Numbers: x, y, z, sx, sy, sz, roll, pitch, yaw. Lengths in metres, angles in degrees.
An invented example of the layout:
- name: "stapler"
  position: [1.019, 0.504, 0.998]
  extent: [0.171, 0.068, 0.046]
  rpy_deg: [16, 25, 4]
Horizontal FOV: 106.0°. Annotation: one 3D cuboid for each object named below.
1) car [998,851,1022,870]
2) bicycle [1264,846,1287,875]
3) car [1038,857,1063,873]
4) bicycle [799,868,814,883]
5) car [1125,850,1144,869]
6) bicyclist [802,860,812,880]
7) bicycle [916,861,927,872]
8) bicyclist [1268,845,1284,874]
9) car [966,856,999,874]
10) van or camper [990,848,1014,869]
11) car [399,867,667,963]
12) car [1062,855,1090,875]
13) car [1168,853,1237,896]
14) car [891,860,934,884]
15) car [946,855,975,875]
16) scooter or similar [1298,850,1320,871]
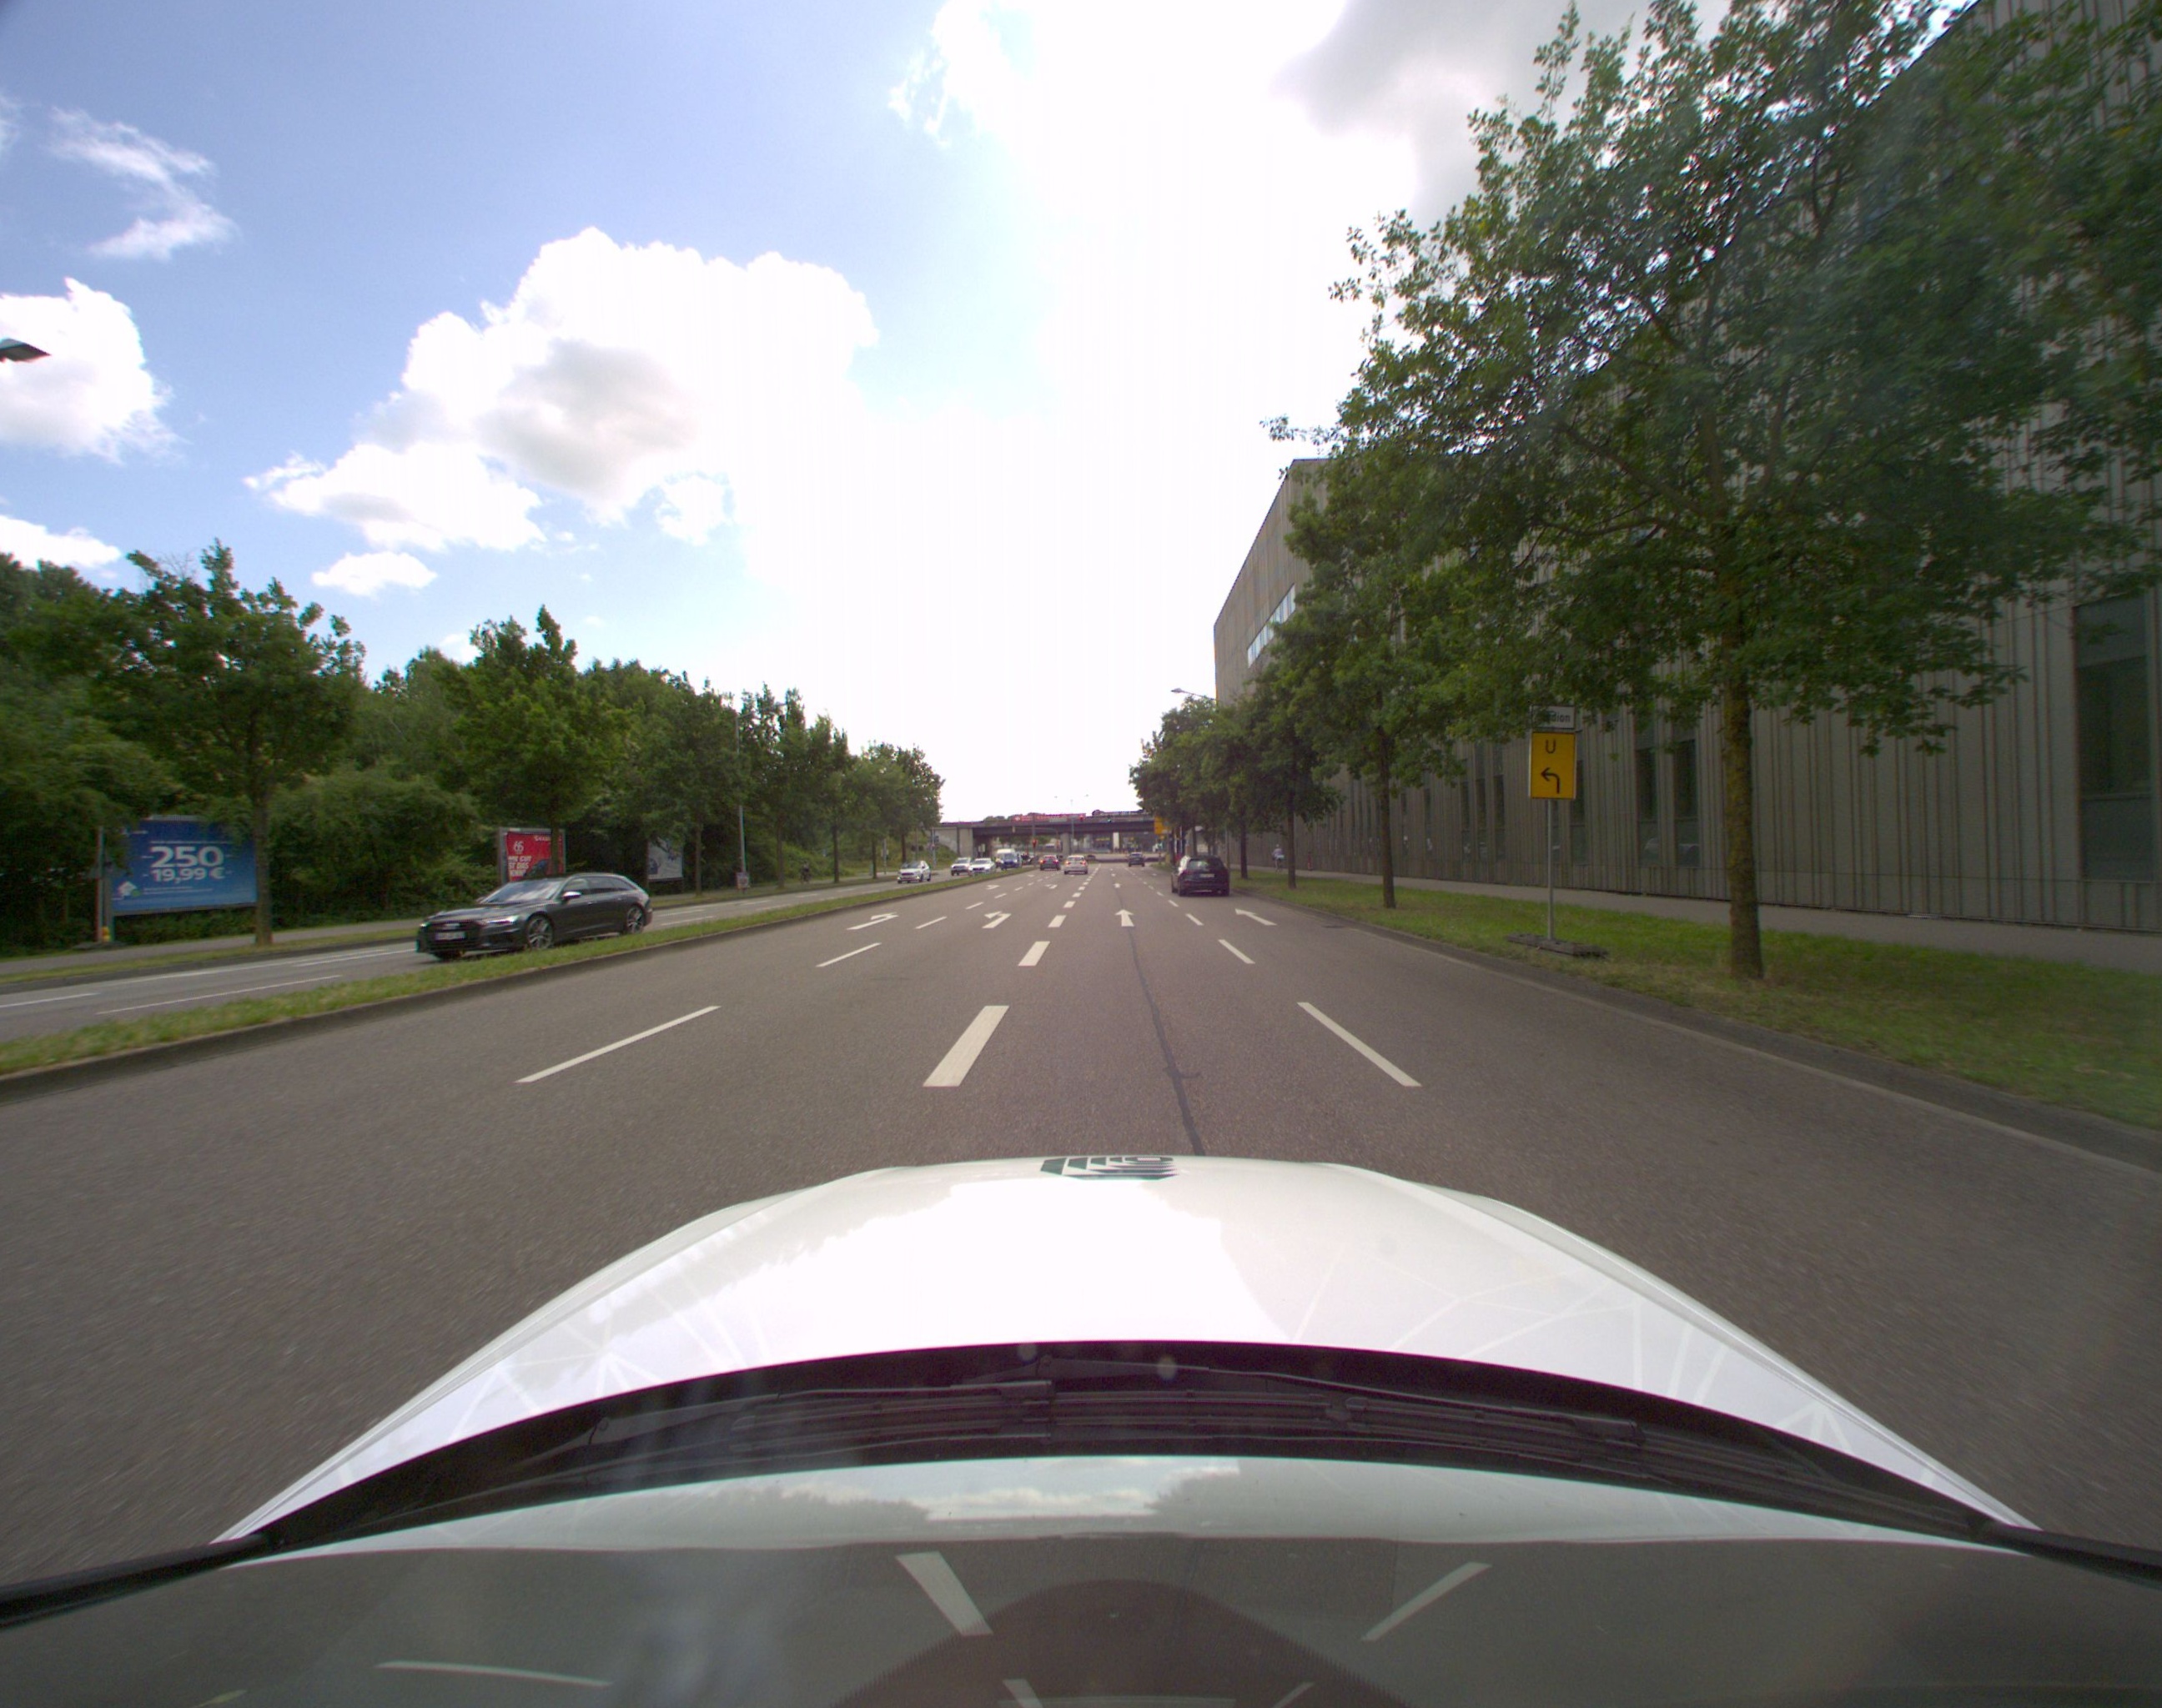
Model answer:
- name: "car"
  position: [-8.012, 0.713, 92.272]
  extent: [2.183, 1.964, 5.194]
  rpy_deg: [-2, 0, 1]
- name: "bicycle"
  position: [12.353, 0.423, 51.701]
  extent: [0.718, 1.774, 2.532]
  rpy_deg: [-2, 0, -2]
- name: "car"
  position: [-2.893, 1.013, 77.910]
  extent: [1.986, 1.415, 4.834]
  rpy_deg: [0, 0, 2]
- name: "bicycle"
  position: [-20.609, 1.597, 61.190]
  extent: [0.508, 1.106, 1.844]
  rpy_deg: [0, 0, 0]
- name: "car"
  position: [6.188, 0.591, 94.332]
  extent: [1.986, 2.037, 4.715]
  rpy_deg: [-2, 0, 2]
- name: "bicyclist"
  position: [-20.622, 1.201, 61.252]
  extent: [0.492, 1.464, 0.713]
  rpy_deg: [0, -1, 0]
- name: "bicycle"
  position: [-19.372, 1.482, 98.918]
  extent: [0.818, 1.270, 2.395]
  rpy_deg: [0, 0, 3]
- name: "bicyclist"
  position: [12.356, 0.327, 51.553]
  extent: [0.713, 1.769, 0.988]
  rpy_deg: [-2, 0, -2]
- name: "car"
  position: [-8.287, 0.904, 69.061]
  extent: [1.986, 1.431, 5.027]
  rpy_deg: [-2, 0, 2]
- name: "van or camper"
  position: [-10.128, 0.539, 105.182]
  extent: [2.343, 2.539, 7.065]
  rpy_deg: [-1, 0, 1]
- name: "car"
  position: [-10.689, 1.091, 16.486]
  extent: [1.952, 1.517, 4.911]
  rpy_deg: [-2, 0, 2]
- name: "car"
  position: [-0.352, 0.841, 63.051]
  extent: [1.908, 1.415, 4.297]
  rpy_deg: [1, 0, 2]
- name: "car"
  position: [4.370, 0.698, 29.980]
  extent: [1.986, 1.390, 4.578]
  rpy_deg: [0, 1, 2]
- name: "car"
  position: [-11.722, 1.211, 57.018]
  extent: [1.907, 1.442, 4.416]
  rpy_deg: [-4, 0, 1]
- name: "car"
  position: [-11.402, 1.032, 77.564]
  extent: [1.987, 1.801, 4.410]
  rpy_deg: [-2, 0, 1]
- name: "scooter or similar"
  position: [14.137, 0.371, 50.502]
  extent: [0.701, 1.246, 2.481]
  rpy_deg: [-3, 0, 2]
